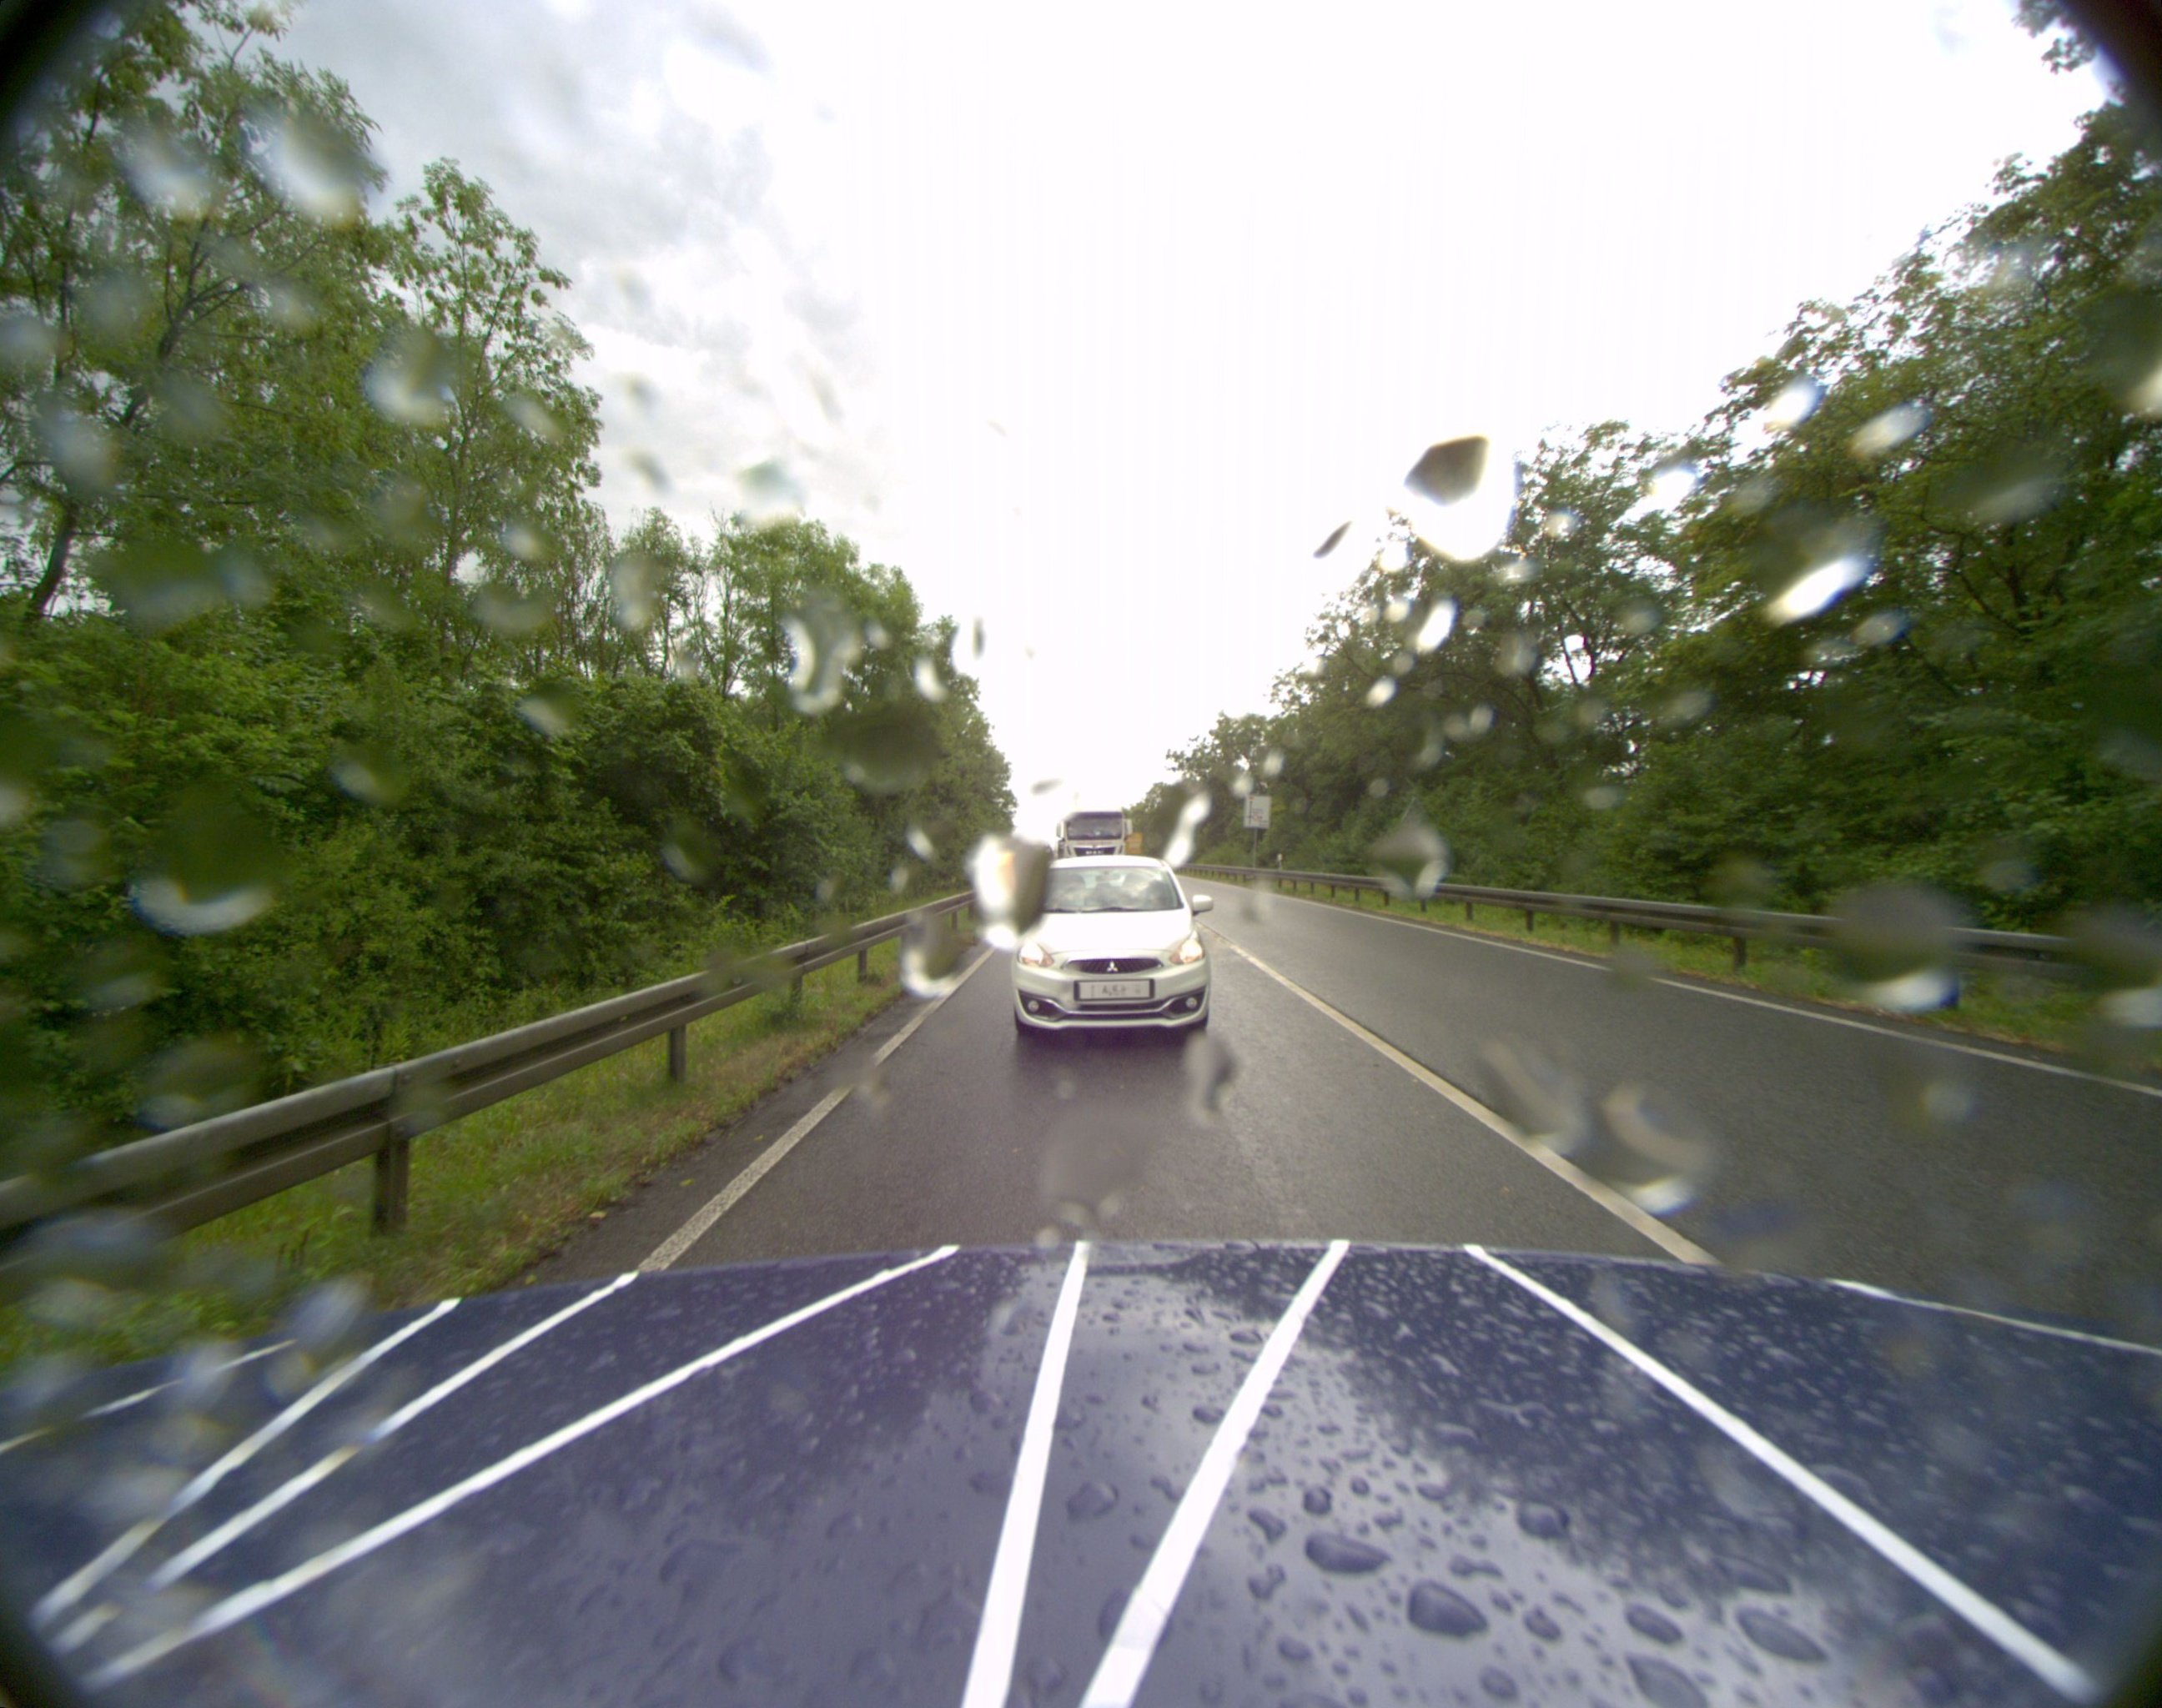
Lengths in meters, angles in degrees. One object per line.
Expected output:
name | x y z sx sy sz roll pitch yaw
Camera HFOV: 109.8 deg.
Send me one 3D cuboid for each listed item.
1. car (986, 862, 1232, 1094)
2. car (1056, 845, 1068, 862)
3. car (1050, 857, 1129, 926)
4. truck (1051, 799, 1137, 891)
car | 0.251 0.868 7.250 1.610 1.435 4.209 -2 0 2
car | -2.709 -0.078 109.366 1.613 2.422 3.999 -2 1 -1
car | 0.237 0.821 18.566 1.640 1.413 4.492 -2 0 1
truck | 0.544 -0.420 33.561 3.136 3.364 9.282 -2 1 1
